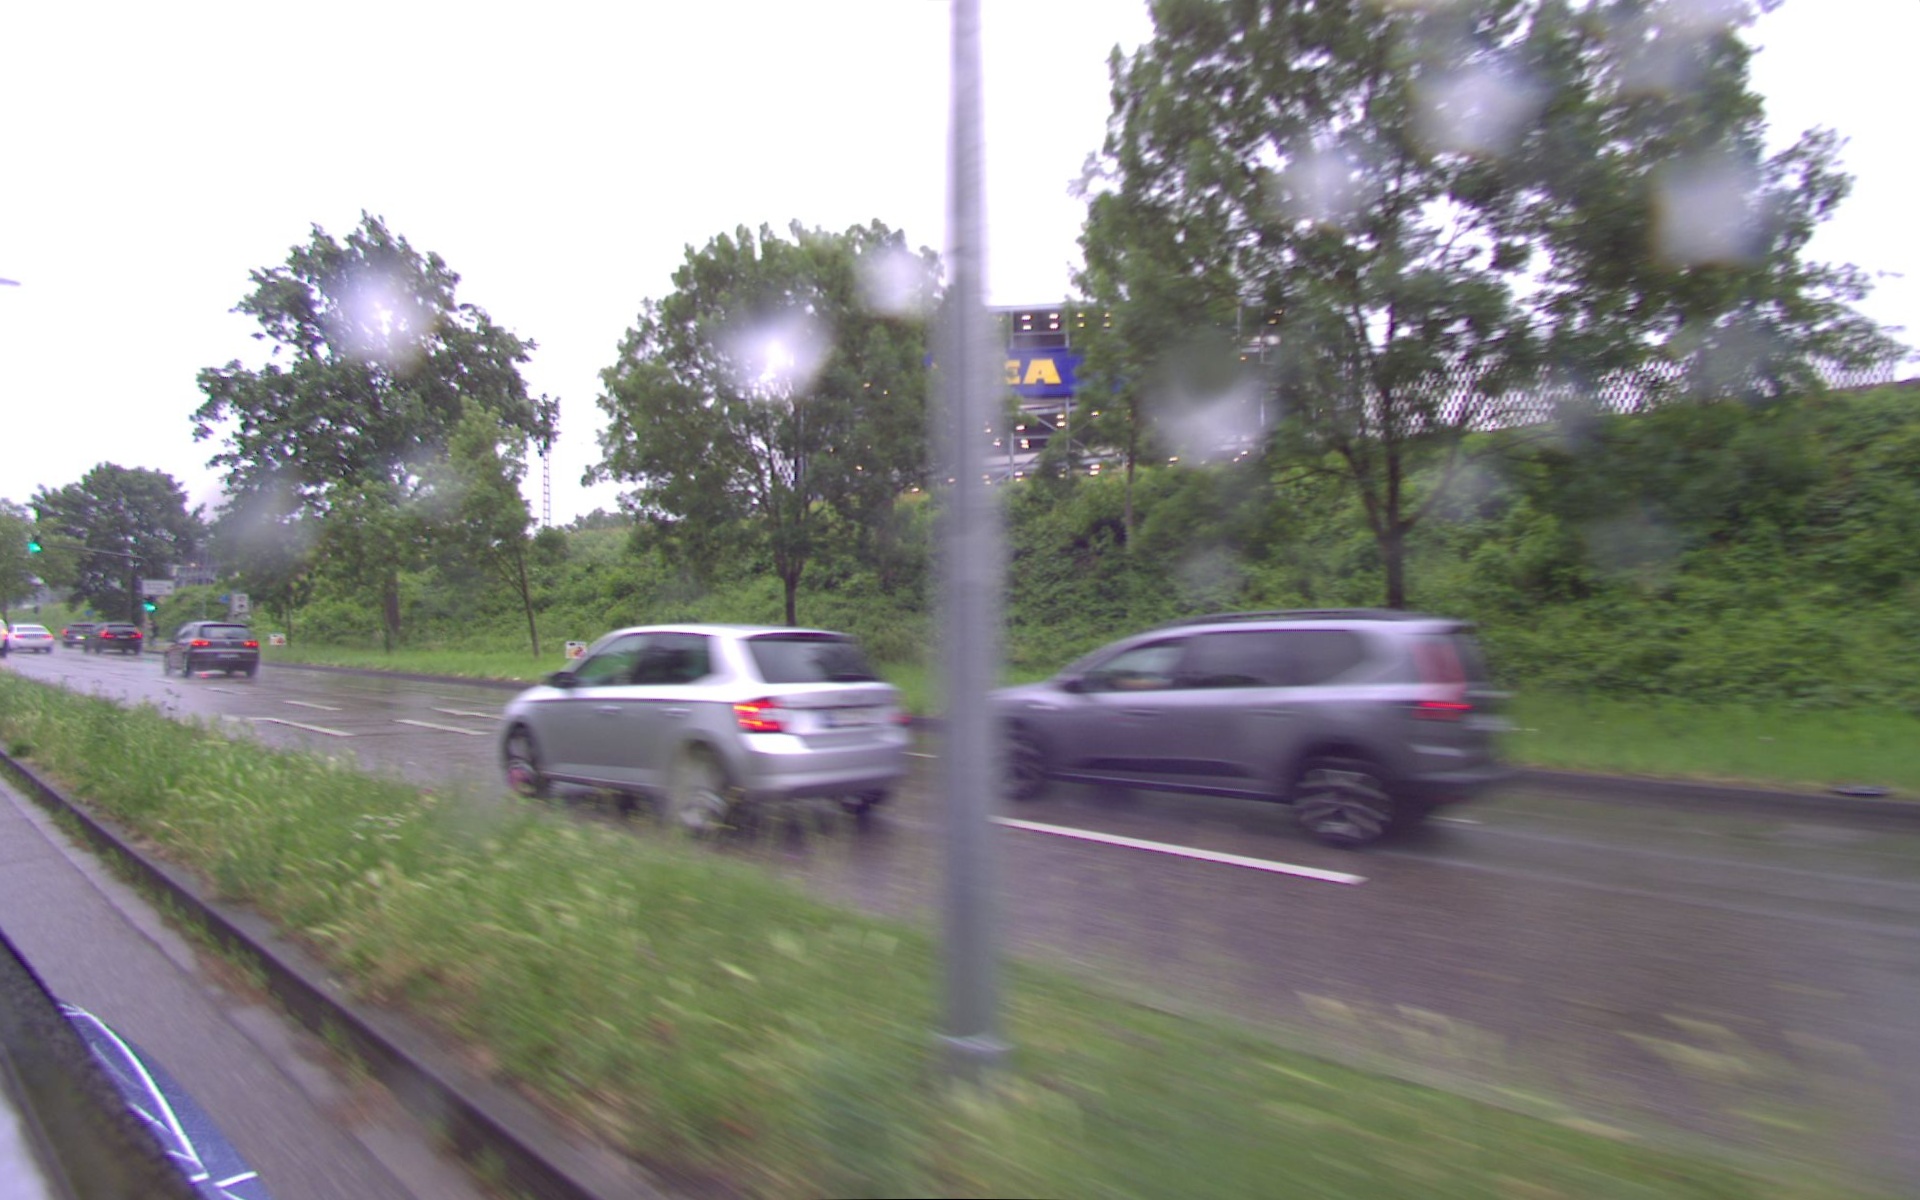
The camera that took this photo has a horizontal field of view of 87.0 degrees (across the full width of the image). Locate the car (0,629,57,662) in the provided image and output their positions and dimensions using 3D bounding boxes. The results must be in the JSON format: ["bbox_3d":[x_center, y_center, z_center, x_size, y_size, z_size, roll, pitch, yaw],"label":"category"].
[{"bbox_3d":[-49.060,2.398,53.091,4.709,1.625,1.878,-2,-4,41],"label":"car"}]

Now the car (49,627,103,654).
[{"bbox_3d":[-55.487,2.518,63.487,4.402,1.625,1.879,-2,-3,40],"label":"car"}]

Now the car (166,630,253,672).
[{"bbox_3d":[-30.560,2.047,41.167,4.474,1.625,1.879,-2,-3,40],"label":"car"}]

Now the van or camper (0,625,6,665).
[{"bbox_3d":[-44.062,1.971,45.121,3.997,1.755,1.711,-2,-4,40],"label":"van or camper"}]

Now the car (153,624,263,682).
[{"bbox_3d":[-22.692,1.588,30.490,4.111,1.625,1.878,-2,-5,43],"label":"car"}]

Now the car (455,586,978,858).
[{"bbox_3d":[-2.068,0.826,8.093,4.105,1.625,1.880,-1,-5,38],"label":"car"}]

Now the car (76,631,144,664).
[{"bbox_3d":[-45.558,2.523,54.225,4.675,1.673,2.016,-2,-3,40],"label":"car"}]

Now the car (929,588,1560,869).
[{"bbox_3d":[2.123,0.899,8.489,4.707,1.701,1.972,-2,-5,42],"label":"car"}]
